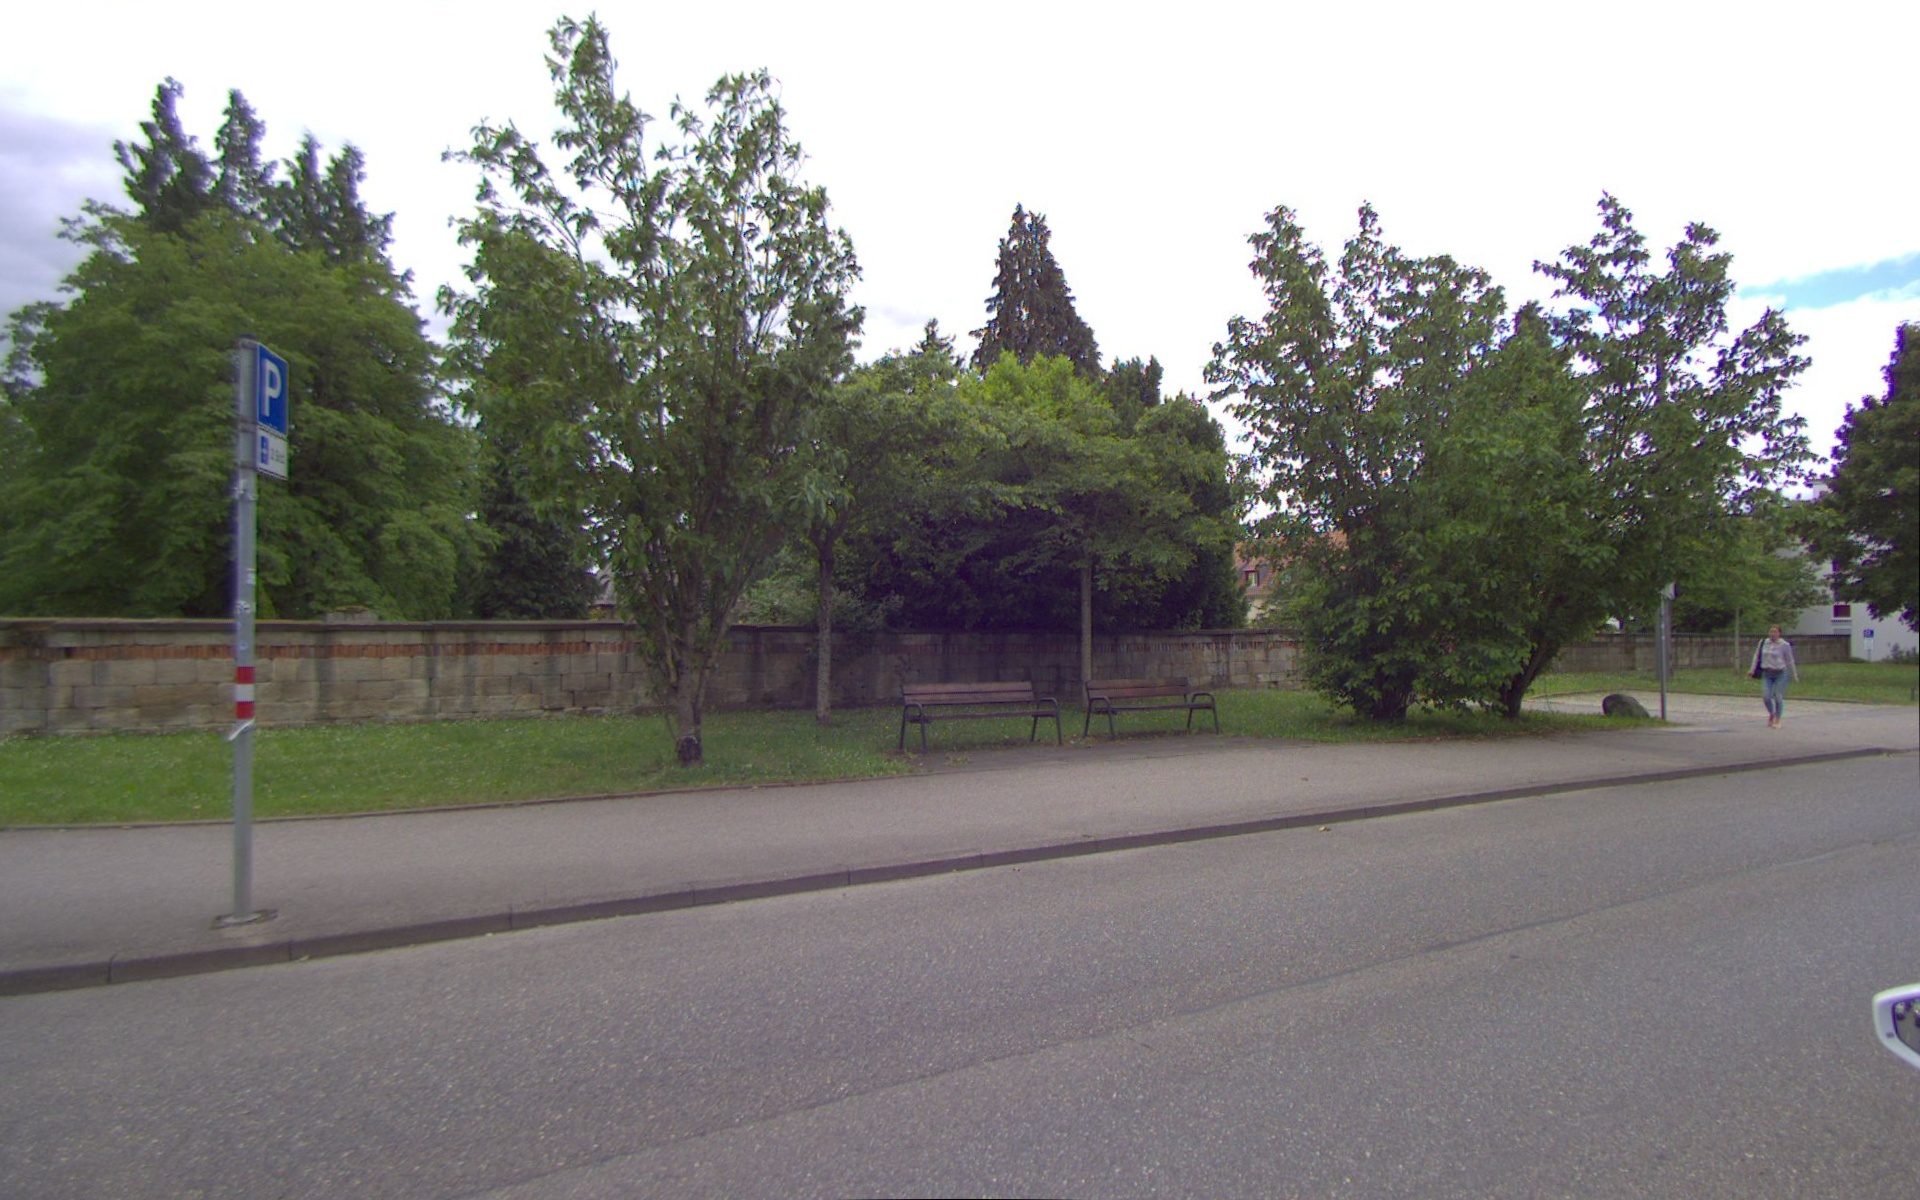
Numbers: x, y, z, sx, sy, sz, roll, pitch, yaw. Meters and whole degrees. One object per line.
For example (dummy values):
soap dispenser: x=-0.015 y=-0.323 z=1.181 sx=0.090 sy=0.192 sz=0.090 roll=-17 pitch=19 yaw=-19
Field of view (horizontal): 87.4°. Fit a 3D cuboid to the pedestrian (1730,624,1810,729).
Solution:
pedestrian: x=14.263 y=1.328 z=17.698 sx=0.892 sy=1.771 sz=0.765 roll=1 pitch=0 yaw=-25
